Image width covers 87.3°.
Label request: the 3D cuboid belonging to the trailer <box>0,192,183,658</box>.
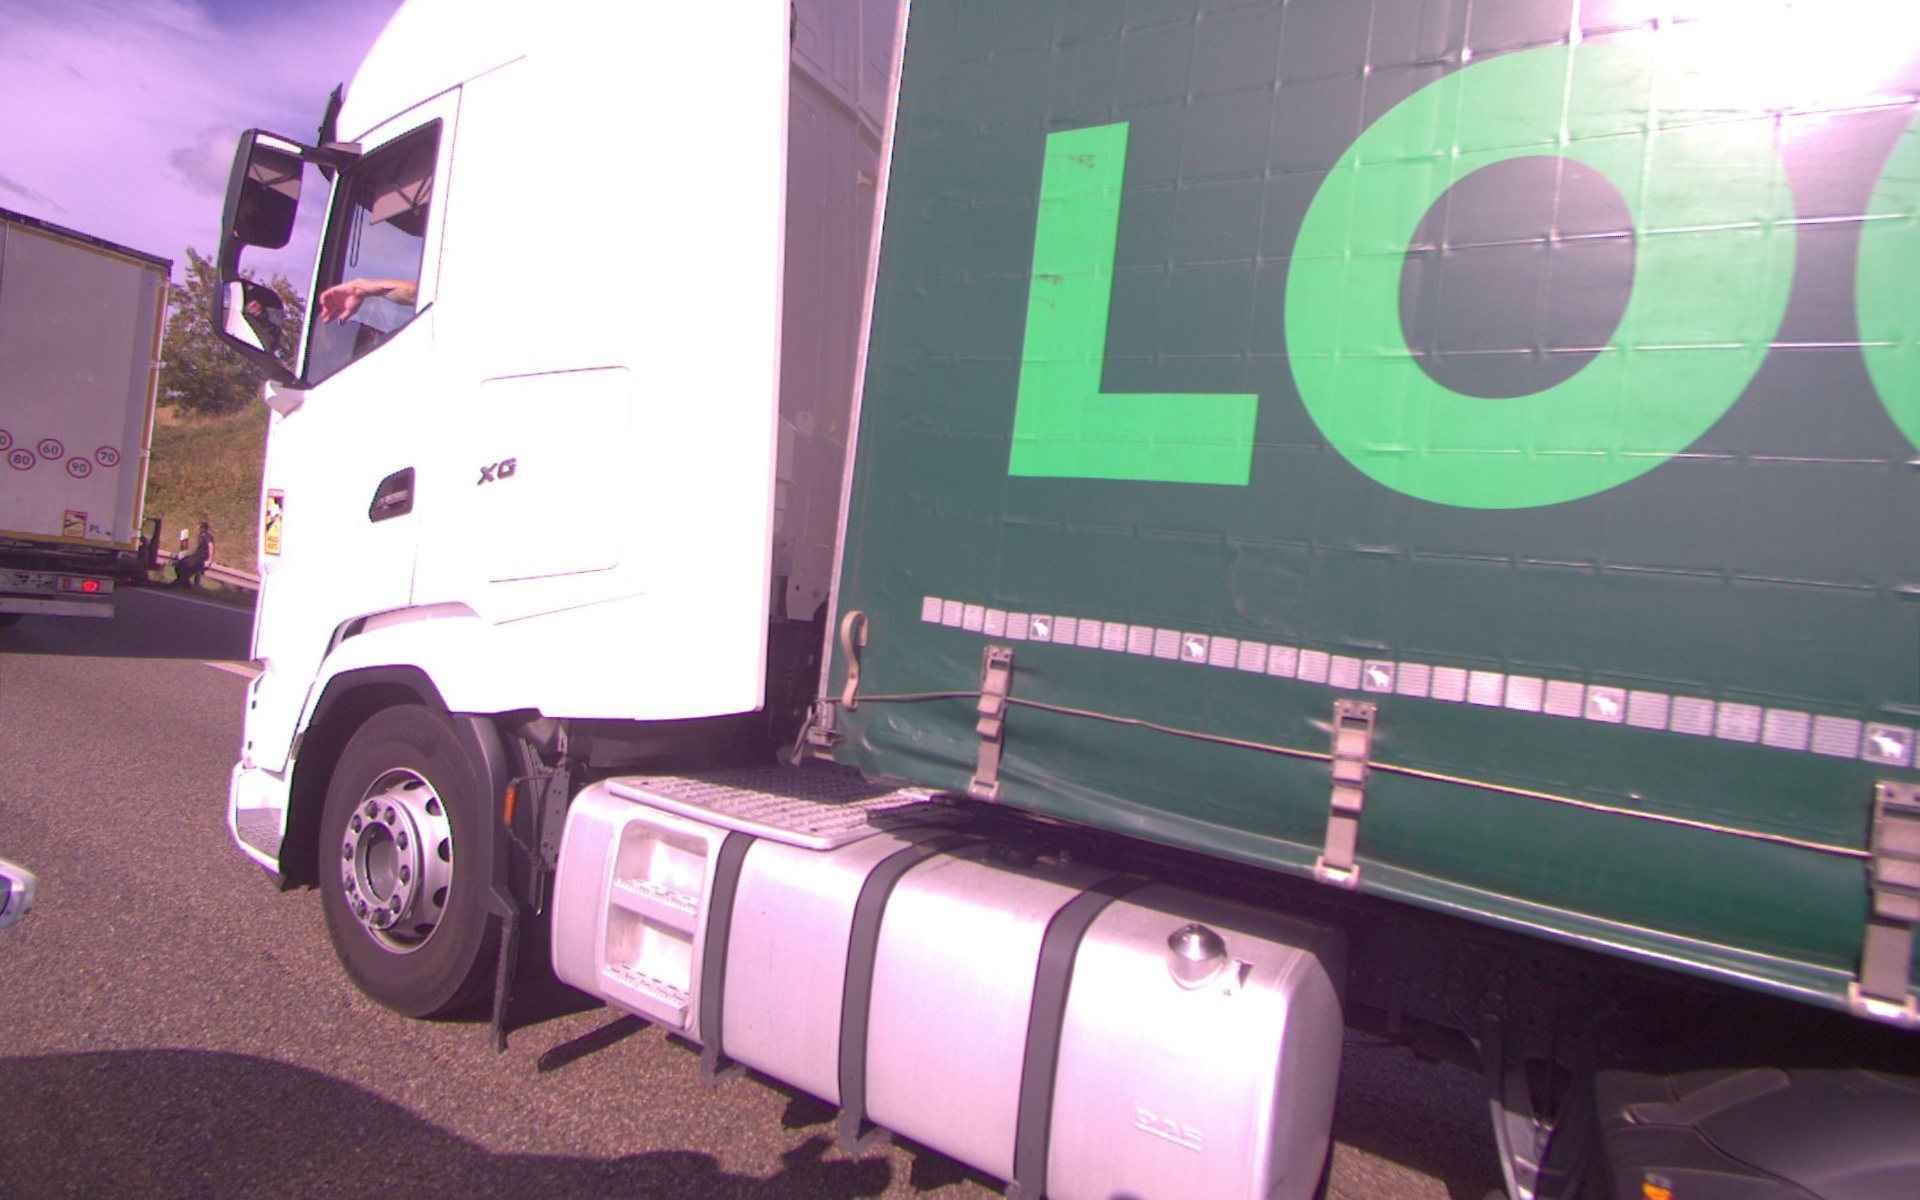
[{"bbox_3d":[-14.125,-2.199,12.343,12.729,4.132,2.706,7,0,32],"label":"trailer"}]

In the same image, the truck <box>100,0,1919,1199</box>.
[{"bbox_3d":[0.425,-0.360,3.293,6.880,3.914,2.651,6,-1,32],"label":"truck"}]
